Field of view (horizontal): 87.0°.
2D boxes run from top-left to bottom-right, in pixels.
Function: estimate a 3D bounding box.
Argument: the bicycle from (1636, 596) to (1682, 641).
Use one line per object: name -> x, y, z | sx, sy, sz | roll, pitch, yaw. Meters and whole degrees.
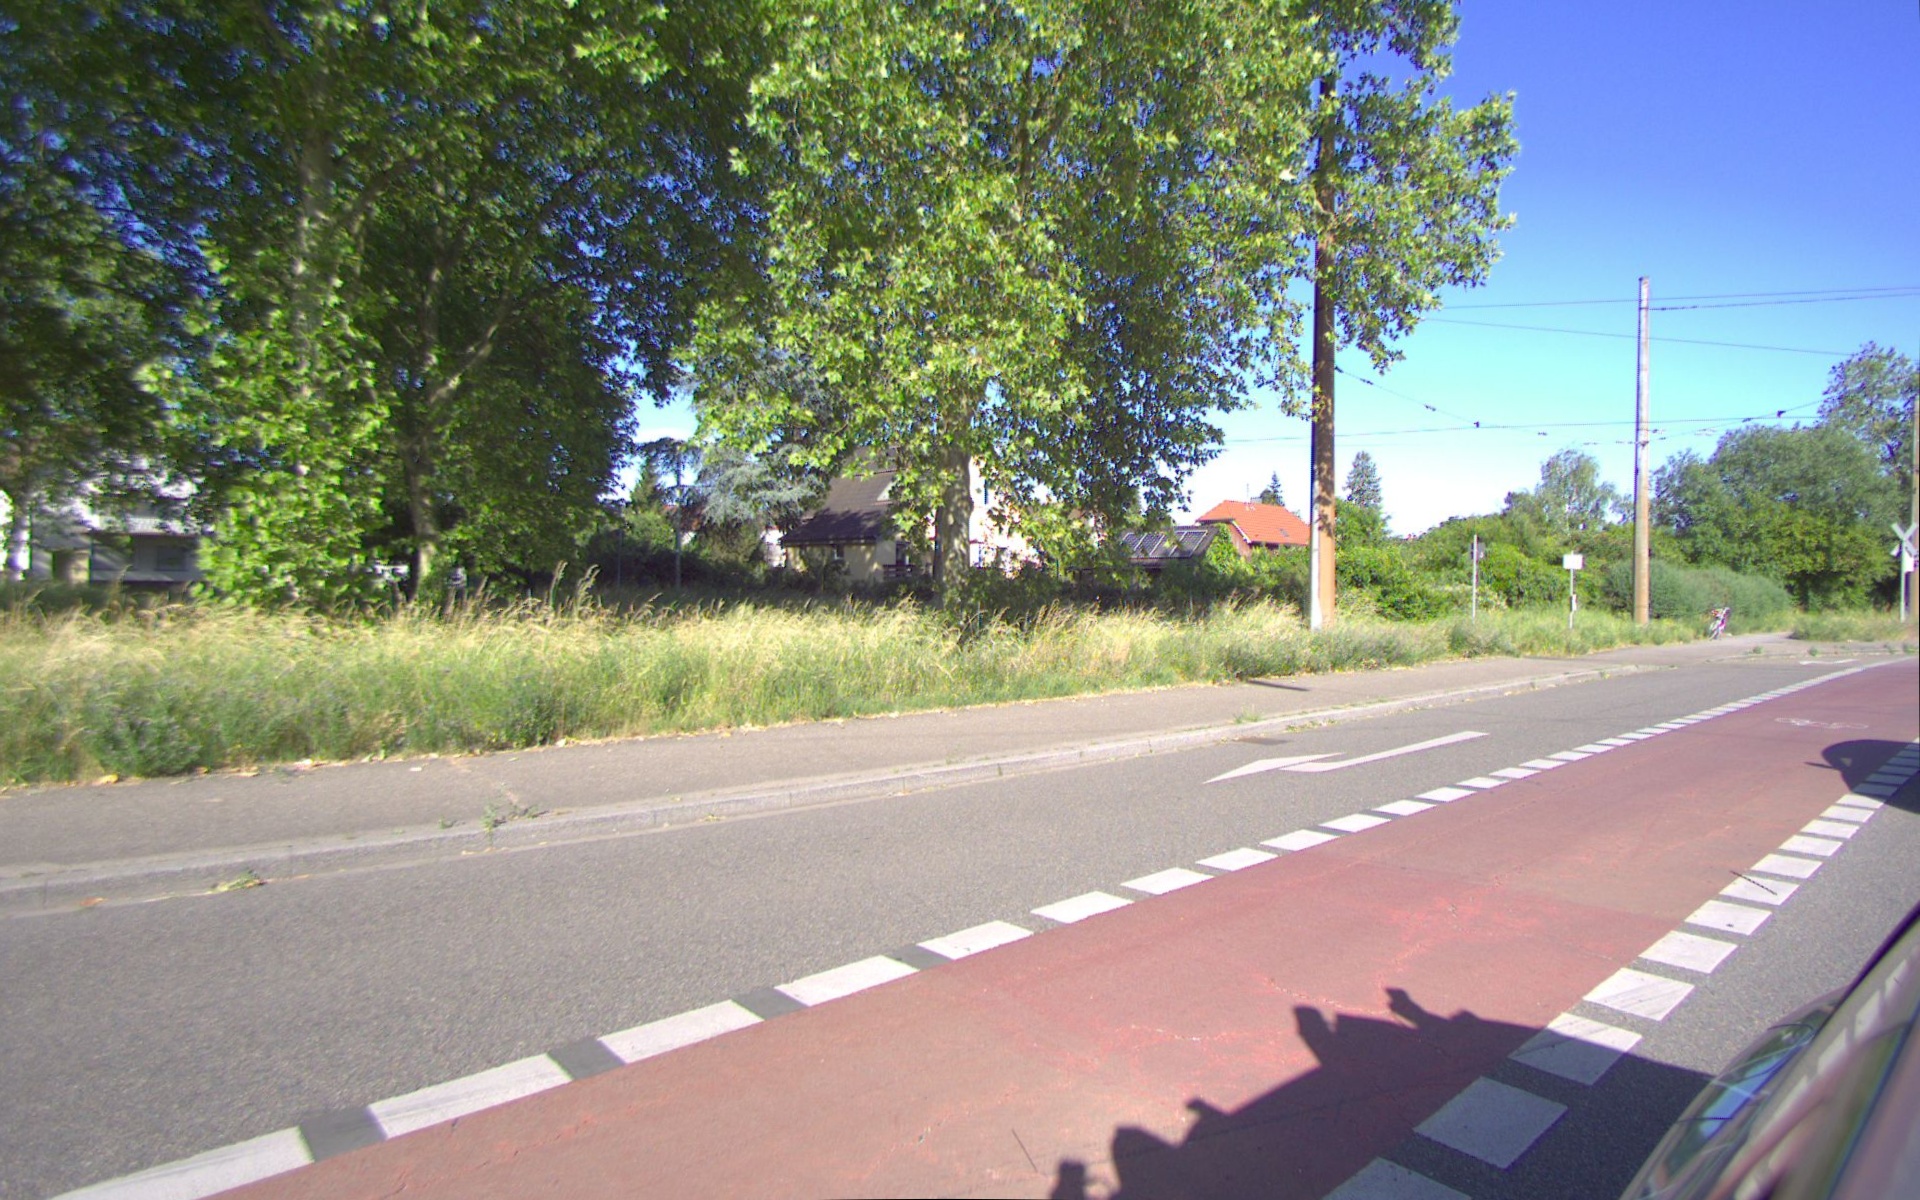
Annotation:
bicycle -> 18.913, 0.478, 27.425 | 0.361, 1.149, 2.085 | 1, 1, 16
